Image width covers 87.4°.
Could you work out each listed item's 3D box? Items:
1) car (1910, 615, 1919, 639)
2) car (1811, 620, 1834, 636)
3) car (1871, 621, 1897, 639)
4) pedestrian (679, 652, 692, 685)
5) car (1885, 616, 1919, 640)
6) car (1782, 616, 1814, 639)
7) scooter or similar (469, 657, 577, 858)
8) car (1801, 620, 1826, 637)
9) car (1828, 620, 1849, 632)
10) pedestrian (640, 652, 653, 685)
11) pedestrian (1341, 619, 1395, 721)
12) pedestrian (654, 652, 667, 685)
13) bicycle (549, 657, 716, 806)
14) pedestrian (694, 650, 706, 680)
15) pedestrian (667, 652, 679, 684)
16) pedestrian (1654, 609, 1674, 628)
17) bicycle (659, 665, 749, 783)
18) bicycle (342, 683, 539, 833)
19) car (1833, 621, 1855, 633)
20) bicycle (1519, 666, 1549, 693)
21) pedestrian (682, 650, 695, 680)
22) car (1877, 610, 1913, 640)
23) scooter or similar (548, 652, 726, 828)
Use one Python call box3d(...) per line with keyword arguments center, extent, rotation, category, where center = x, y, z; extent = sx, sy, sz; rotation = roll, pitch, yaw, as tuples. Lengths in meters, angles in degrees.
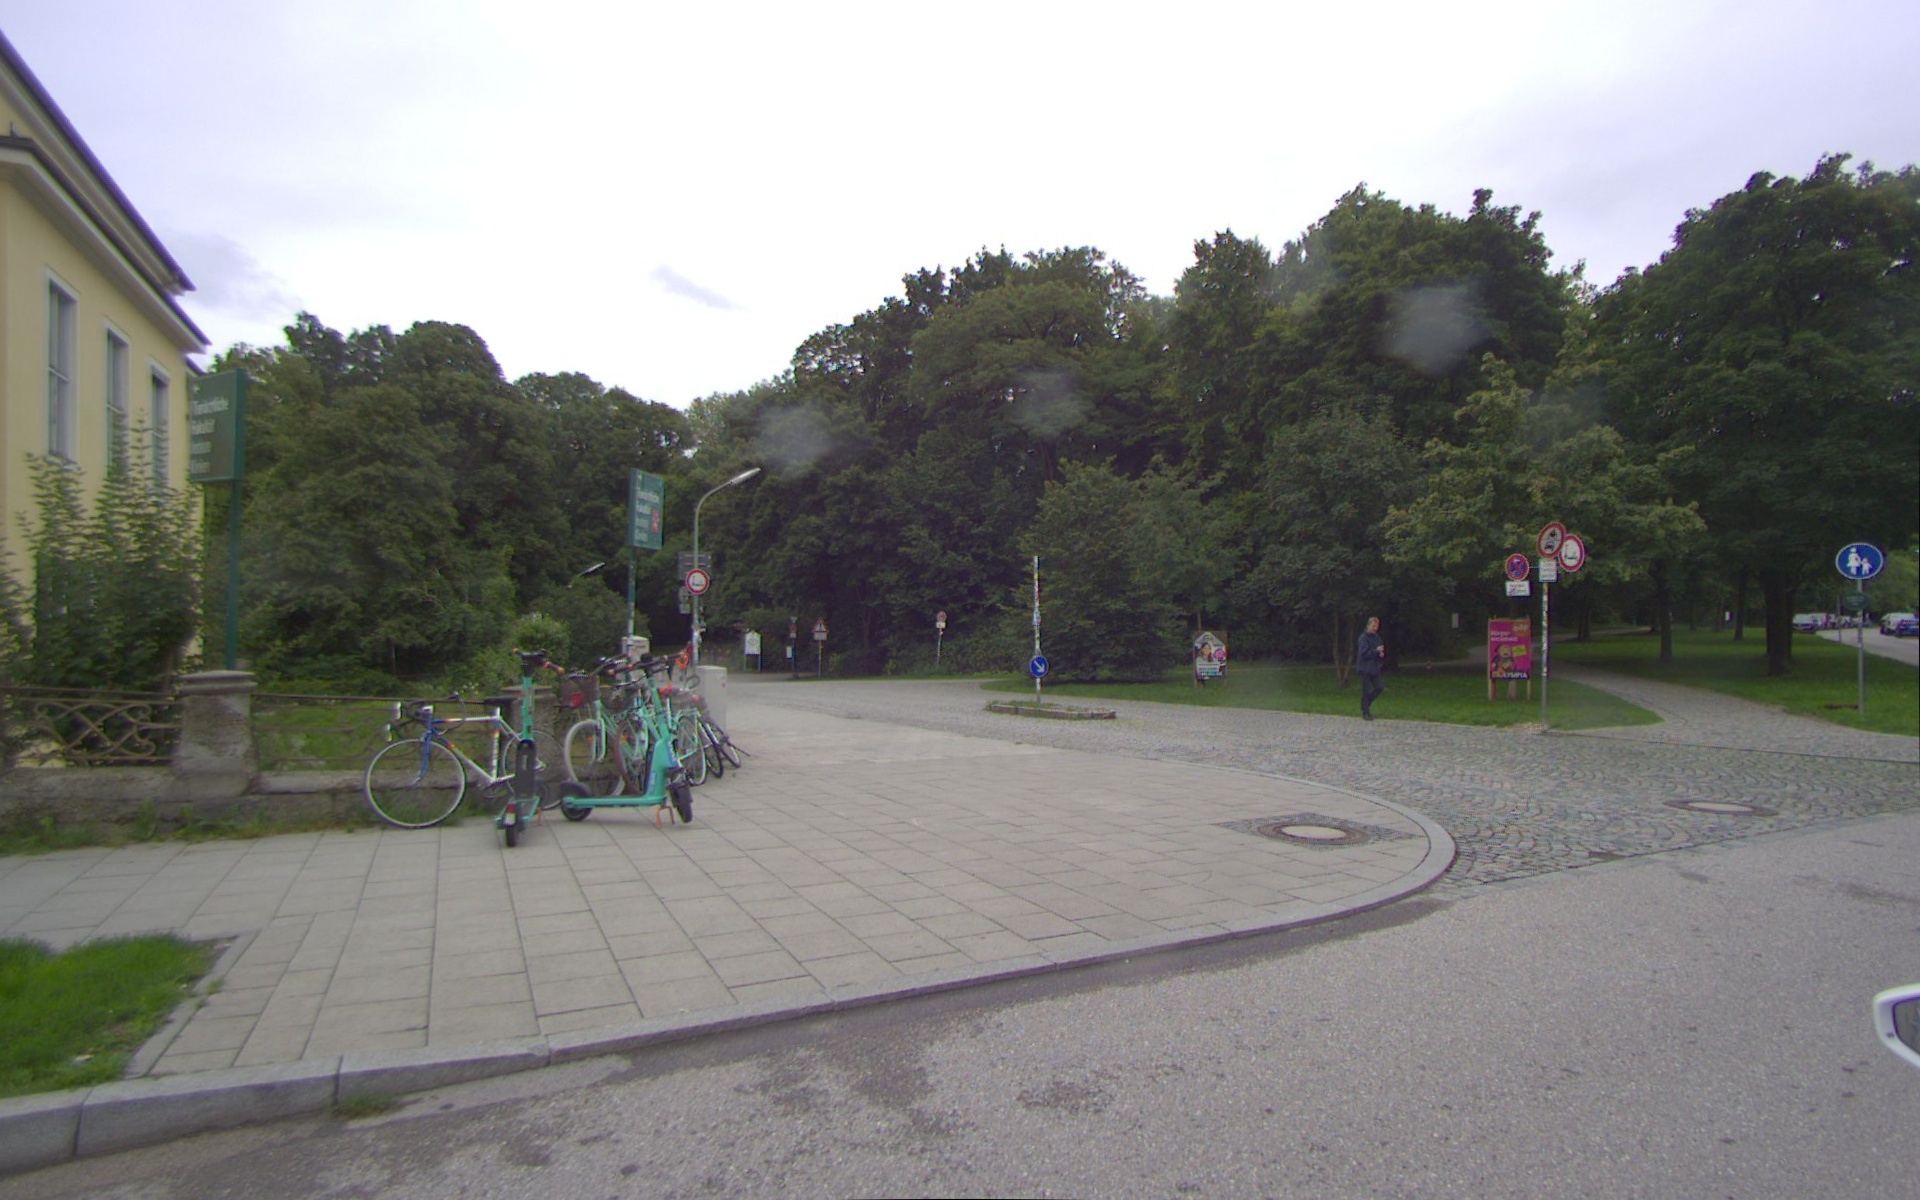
box3d(center=(67.375, 1.862, 69.299), extent=(2.149, 1.679, 4.488), rotation=(-1, -2, 38), category="car")
box3d(center=(102.429, 3.345, 119.295), extent=(1.971, 1.862, 3.979), rotation=(-1, -2, 41), category="car")
box3d(center=(89.183, 2.882, 96.973), extent=(1.625, 1.674, 4.265), rotation=(0, -1, 39), category="car")
box3d(center=(-15.104, 3.745, 55.293), extent=(0.591, 1.768, 0.808), rotation=(0, -2, -23), category="pedestrian")
box3d(center=(75.950, 2.272, 80.851), extent=(1.852, 1.840, 3.983), rotation=(-1, -2, 38), category="car")
box3d(center=(71.222, 2.328, 85.403), extent=(1.969, 1.862, 3.983), rotation=(-1, -2, 39), category="car")
box3d(center=(-2.973, 1.012, 6.873), extent=(0.593, 1.235, 1.175), rotation=(1, -3, -23), category="scooter or similar")
box3d(center=(96.960, 3.247, 114.115), extent=(1.973, 1.862, 3.976), rotation=(-1, -2, 43), category="car")
box3d(center=(116.247, 3.473, 132.908), extent=(1.971, 1.595, 3.979), rotation=(-1, -2, 42), category="car")
box3d(center=(-17.184, 3.767, 55.015), extent=(0.591, 1.768, 0.808), rotation=(0, -2, -23), category="pedestrian")
box3d(center=(7.305, 1.238, 17.996), extent=(0.721, 1.775, 0.655), rotation=(-1, -1, 43), category="pedestrian")
box3d(center=(-16.450, 3.758, 55.127), extent=(0.591, 1.768, 0.808), rotation=(0, -2, -23), category="pedestrian")
box3d(center=(-2.873, 1.115, 8.971), extent=(0.641, 1.149, 1.502), rotation=(0, -1, 18), category="bicycle")
box3d(center=(-15.393, 3.823, 59.434), extent=(0.591, 1.768, 0.808), rotation=(0, -2, -23), category="pedestrian")
box3d(center=(-15.861, 3.745, 55.514), extent=(0.591, 1.768, 0.808), rotation=(0, -2, -23), category="pedestrian")
box3d(center=(71.703, 1.870, 102.323), extent=(1.301, 1.971, 1.036), rotation=(0, -1, 7), category="pedestrian")
box3d(center=(-2.682, 1.281, 10.700), extent=(0.642, 1.148, 1.738), rotation=(1, -5, -5), category="bicycle")
box3d(center=(-3.790, 1.117, 7.393), extent=(0.464, 0.935, 1.199), rotation=(0, -1, 39), category="bicycle")
box3d(center=(122.164, 3.772, 138.801), extent=(3.974, 1.595, 1.974), rotation=(2, -2, -45), category="car")
box3d(center=(18.193, 2.503, 31.844), extent=(1.351, 0.786, 0.435), rotation=(2, -1, -43), category="bicycle")
box3d(center=(-15.987, 3.824, 59.147), extent=(0.591, 1.768, 0.808), rotation=(0, -2, -23), category="pedestrian")
box3d(center=(82.068, 2.195, 88.186), extent=(1.852, 2.602, 4.911), rotation=(-1, -2, 38), category="car")
box3d(center=(-2.373, 1.002, 7.416), extent=(1.158, 1.235, 0.447), rotation=(-1, -3, 11), category="scooter or similar")
